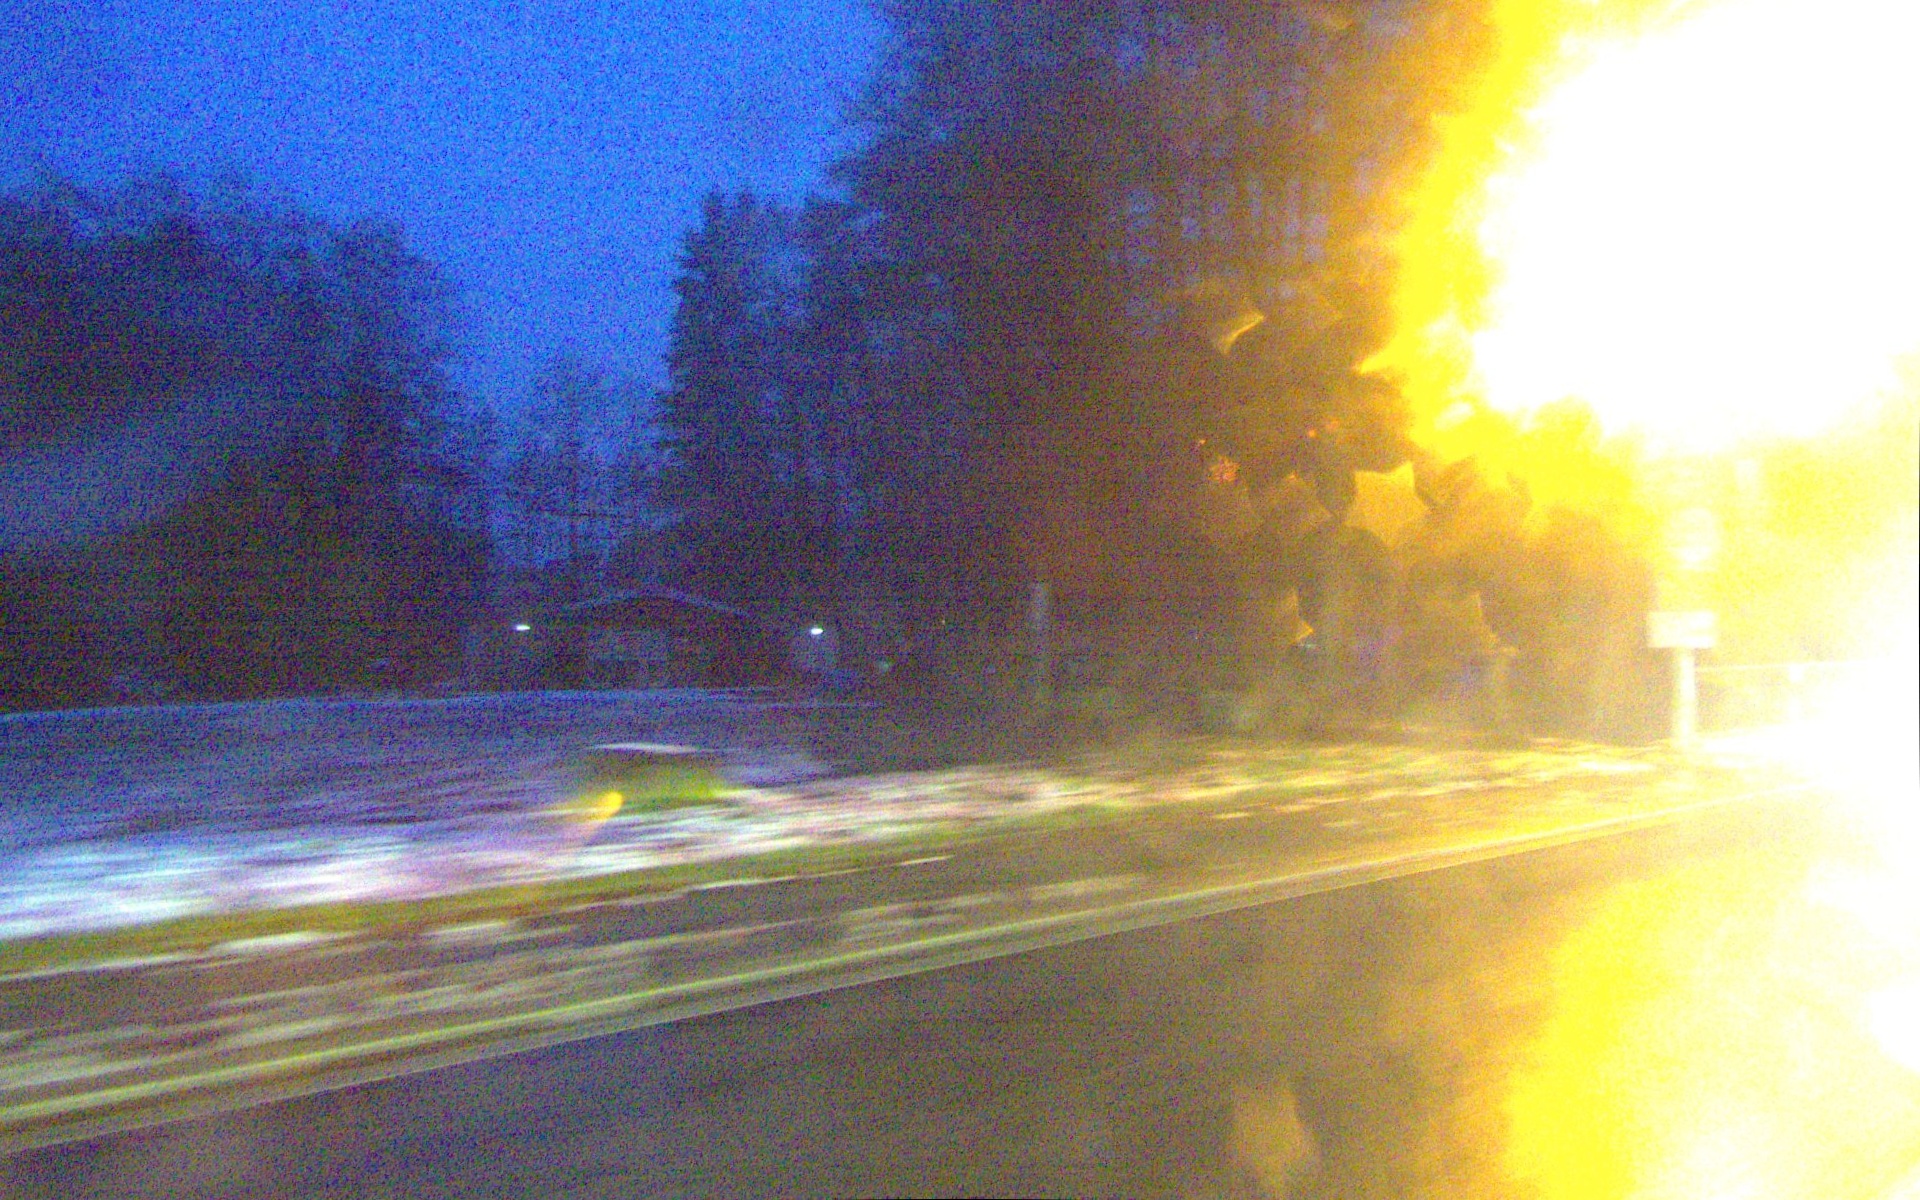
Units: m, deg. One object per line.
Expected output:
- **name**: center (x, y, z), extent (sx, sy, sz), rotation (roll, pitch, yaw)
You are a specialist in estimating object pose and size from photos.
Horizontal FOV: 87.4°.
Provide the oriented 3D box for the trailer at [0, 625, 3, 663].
- **trailer**: center (-24.741, 1.572, 23.209), extent (1.939, 2.246, 3.804), rotation (2, -5, -11)
